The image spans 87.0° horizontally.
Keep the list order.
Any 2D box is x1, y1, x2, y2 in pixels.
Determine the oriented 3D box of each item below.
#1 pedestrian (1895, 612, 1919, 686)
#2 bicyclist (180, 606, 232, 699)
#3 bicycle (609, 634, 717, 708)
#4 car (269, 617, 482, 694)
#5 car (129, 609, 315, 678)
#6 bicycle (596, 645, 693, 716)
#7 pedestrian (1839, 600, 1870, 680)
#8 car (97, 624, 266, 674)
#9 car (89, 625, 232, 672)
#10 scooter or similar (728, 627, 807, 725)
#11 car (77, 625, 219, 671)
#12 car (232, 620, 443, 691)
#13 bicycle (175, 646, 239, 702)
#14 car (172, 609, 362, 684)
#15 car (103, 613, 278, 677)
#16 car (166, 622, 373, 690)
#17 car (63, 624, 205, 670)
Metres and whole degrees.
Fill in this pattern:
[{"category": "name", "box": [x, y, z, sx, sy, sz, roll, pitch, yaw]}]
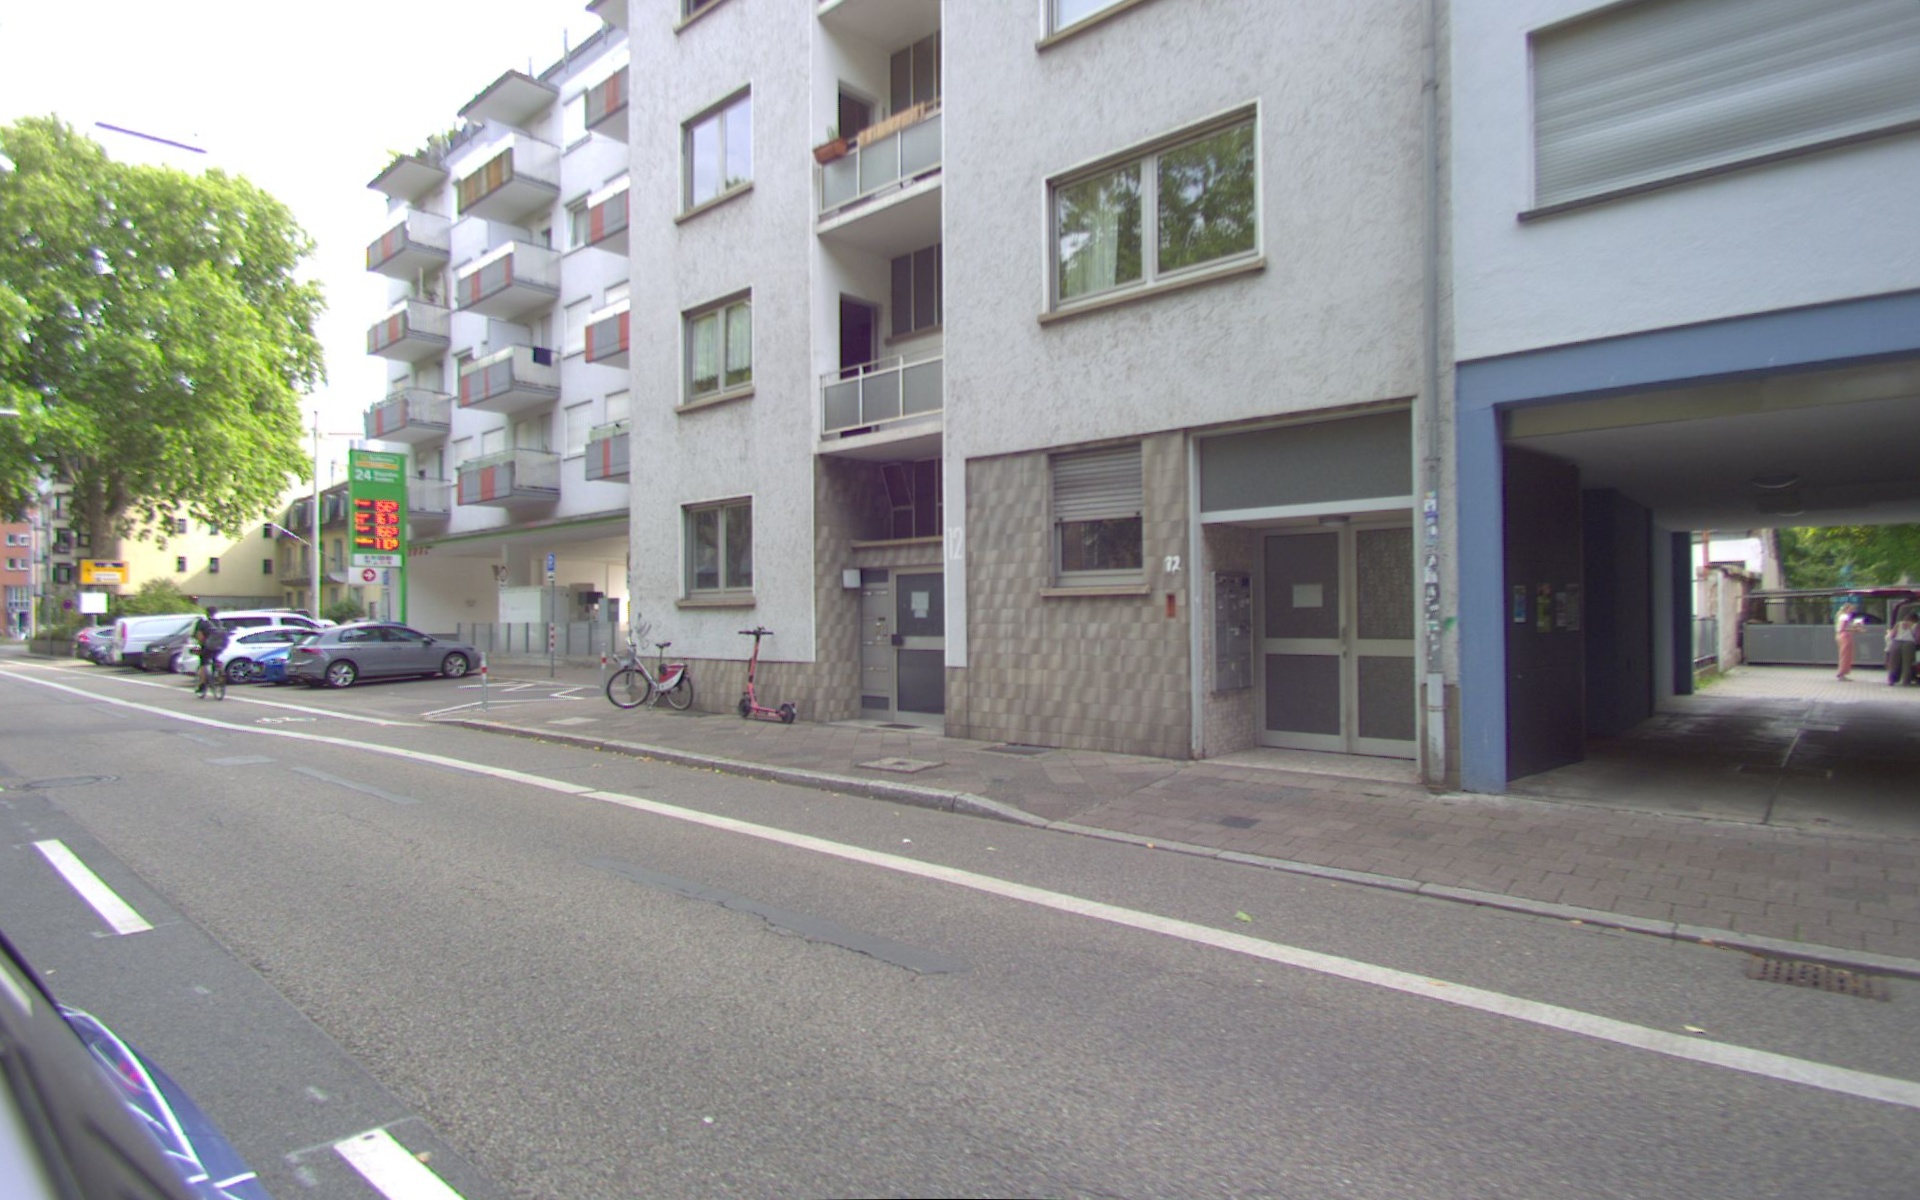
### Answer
[{"category": "pedestrian", "box": [20.006, 1.025, 21.244, 0.411, 1.523, 0.373, -1, -2, 20]}, {"category": "bicyclist", "box": [-15.345, 1.049, 20.598, 1.045, 1.824, 0.645, -1, -1, 42]}, {"category": "bicycle", "box": [-4.955, 1.160, 16.974, 0.453, 1.126, 1.753, -2, -1, 41]}, {"category": "car", "box": [-14.218, 1.284, 24.780, 1.837, 1.525, 4.107, -2, 1, 42]}, {"category": "car", "box": [-24.761, 1.408, 34.095, 1.993, 1.948, 4.716, -2, 1, 42]}, {"category": "bicycle", "box": [-4.674, 1.161, 14.955, 1.662, 0.957, 0.591, -2, -1, 42]}, {"category": "pedestrian", "box": [20.028, 0.890, 22.663, 0.479, 1.778, 0.370, -2, -2, 41]}, {"category": "car", "box": [-28.534, 1.748, 37.216, 1.874, 1.481, 4.655, -2, 1, 42]}, {"category": "car", "box": [-31.788, 1.889, 40.314, 1.719, 1.522, 4.220, -2, 1, 42]}, {"category": "scooter or similar", "box": [-2.538, 0.976, 13.296, 1.201, 1.231, 0.346, -2, -1, 42]}, {"category": "car", "box": [-33.399, 1.927, 41.703, 1.732, 1.560, 4.315, -2, 1, 42]}, {"category": "car", "box": [-15.972, 1.365, 26.139, 1.910, 1.462, 4.255, -2, 1, 42]}, {"category": "bicycle", "box": [-15.319, 1.472, 20.571, 2.076, 1.022, 0.639, -1, -1, 41]}, {"category": "car", "box": [-19.970, 1.284, 29.291, 1.923, 1.862, 4.167, -2, 1, 42]}, {"category": "car", "box": [-26.855, 1.519, 35.441, 1.950, 1.873, 4.567, -2, 1, 42]}, {"category": "car", "box": [-18.356, 1.444, 27.058, 1.873, 1.462, 4.226, -2, 1, 42]}, {"category": "car", "box": [-35.178, 1.967, 43.184, 1.753, 1.618, 4.470, -2, 1, 42]}]
